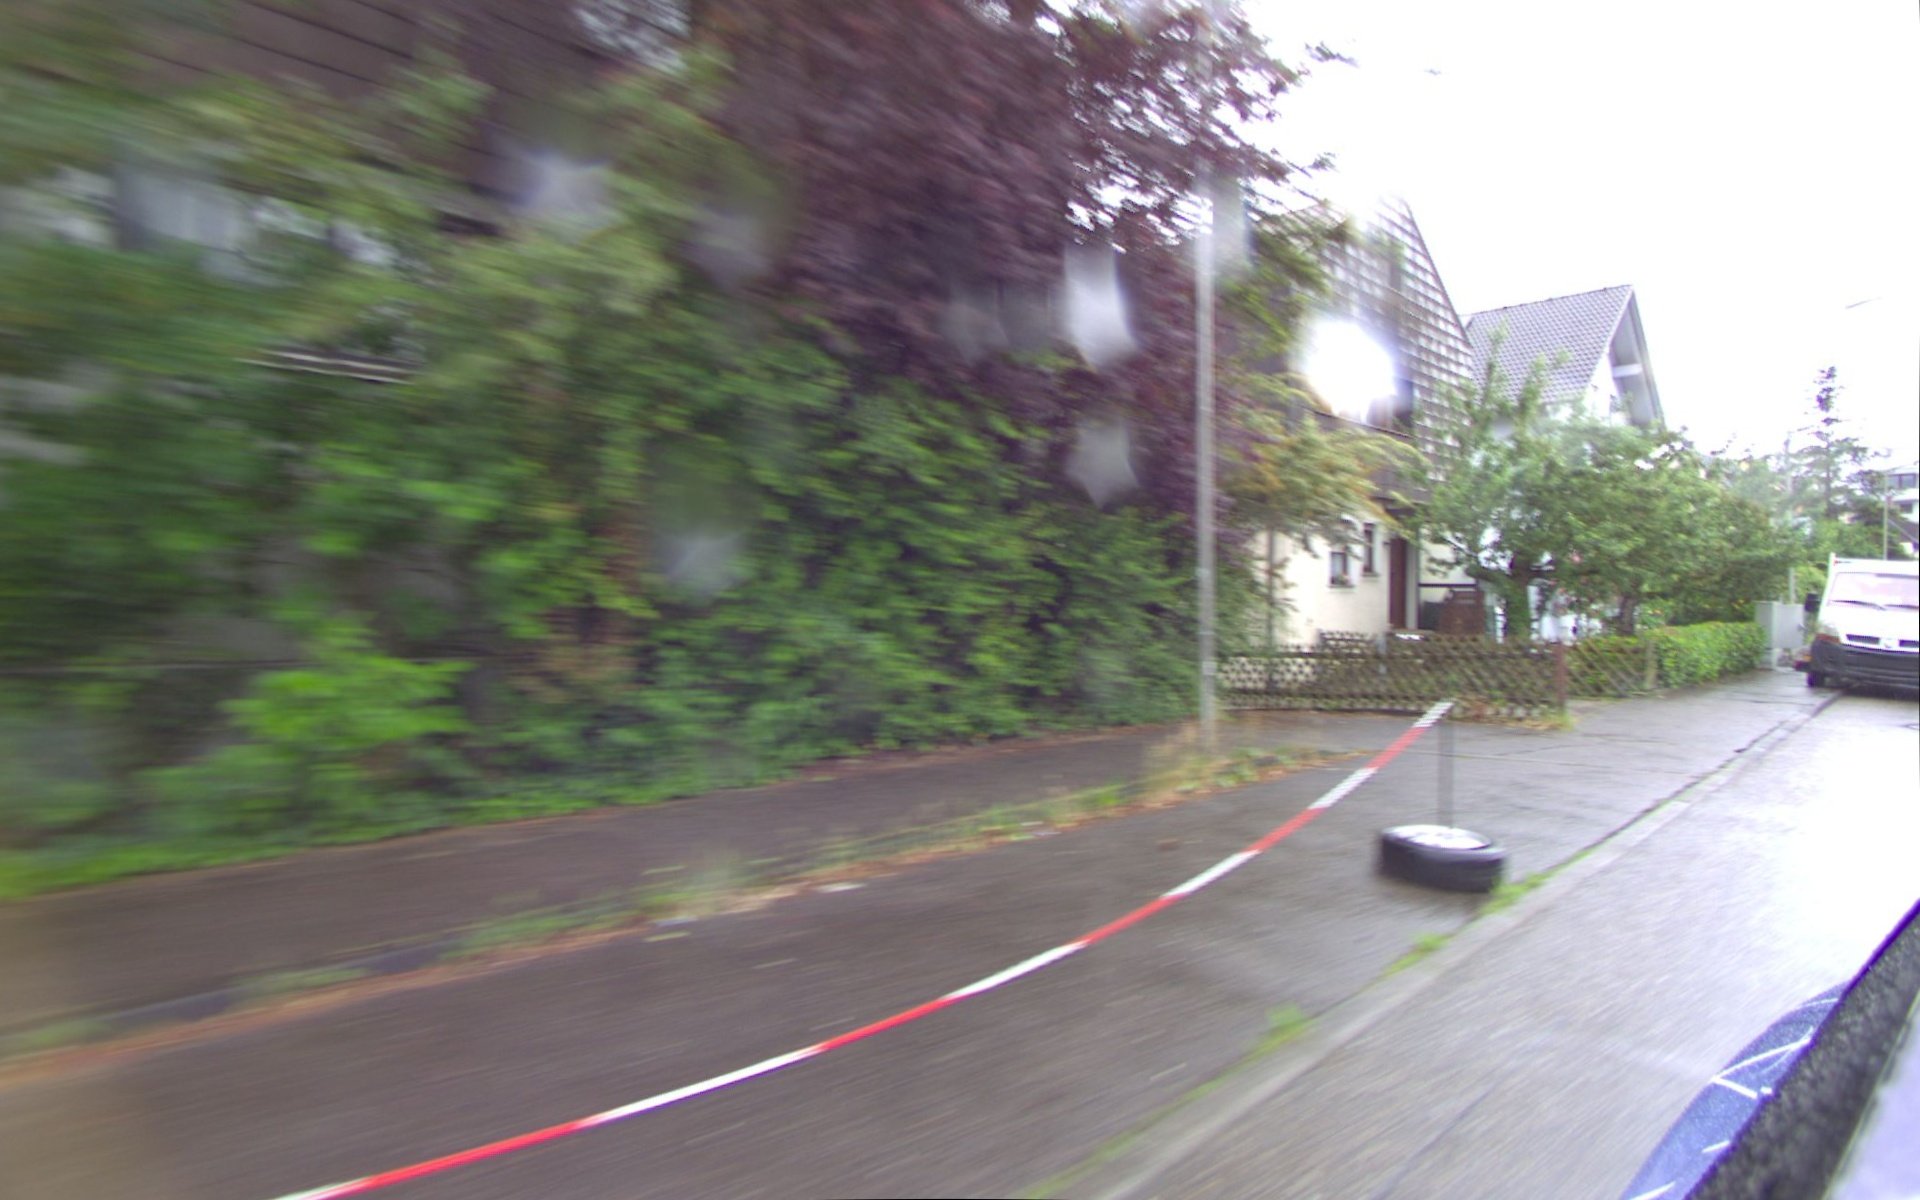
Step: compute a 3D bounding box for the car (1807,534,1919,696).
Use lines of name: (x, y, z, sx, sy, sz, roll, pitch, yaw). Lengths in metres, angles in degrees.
car: (16.818, 0.232, 17.756, 6.327, 2.462, 2.393, 0, 2, -45)
